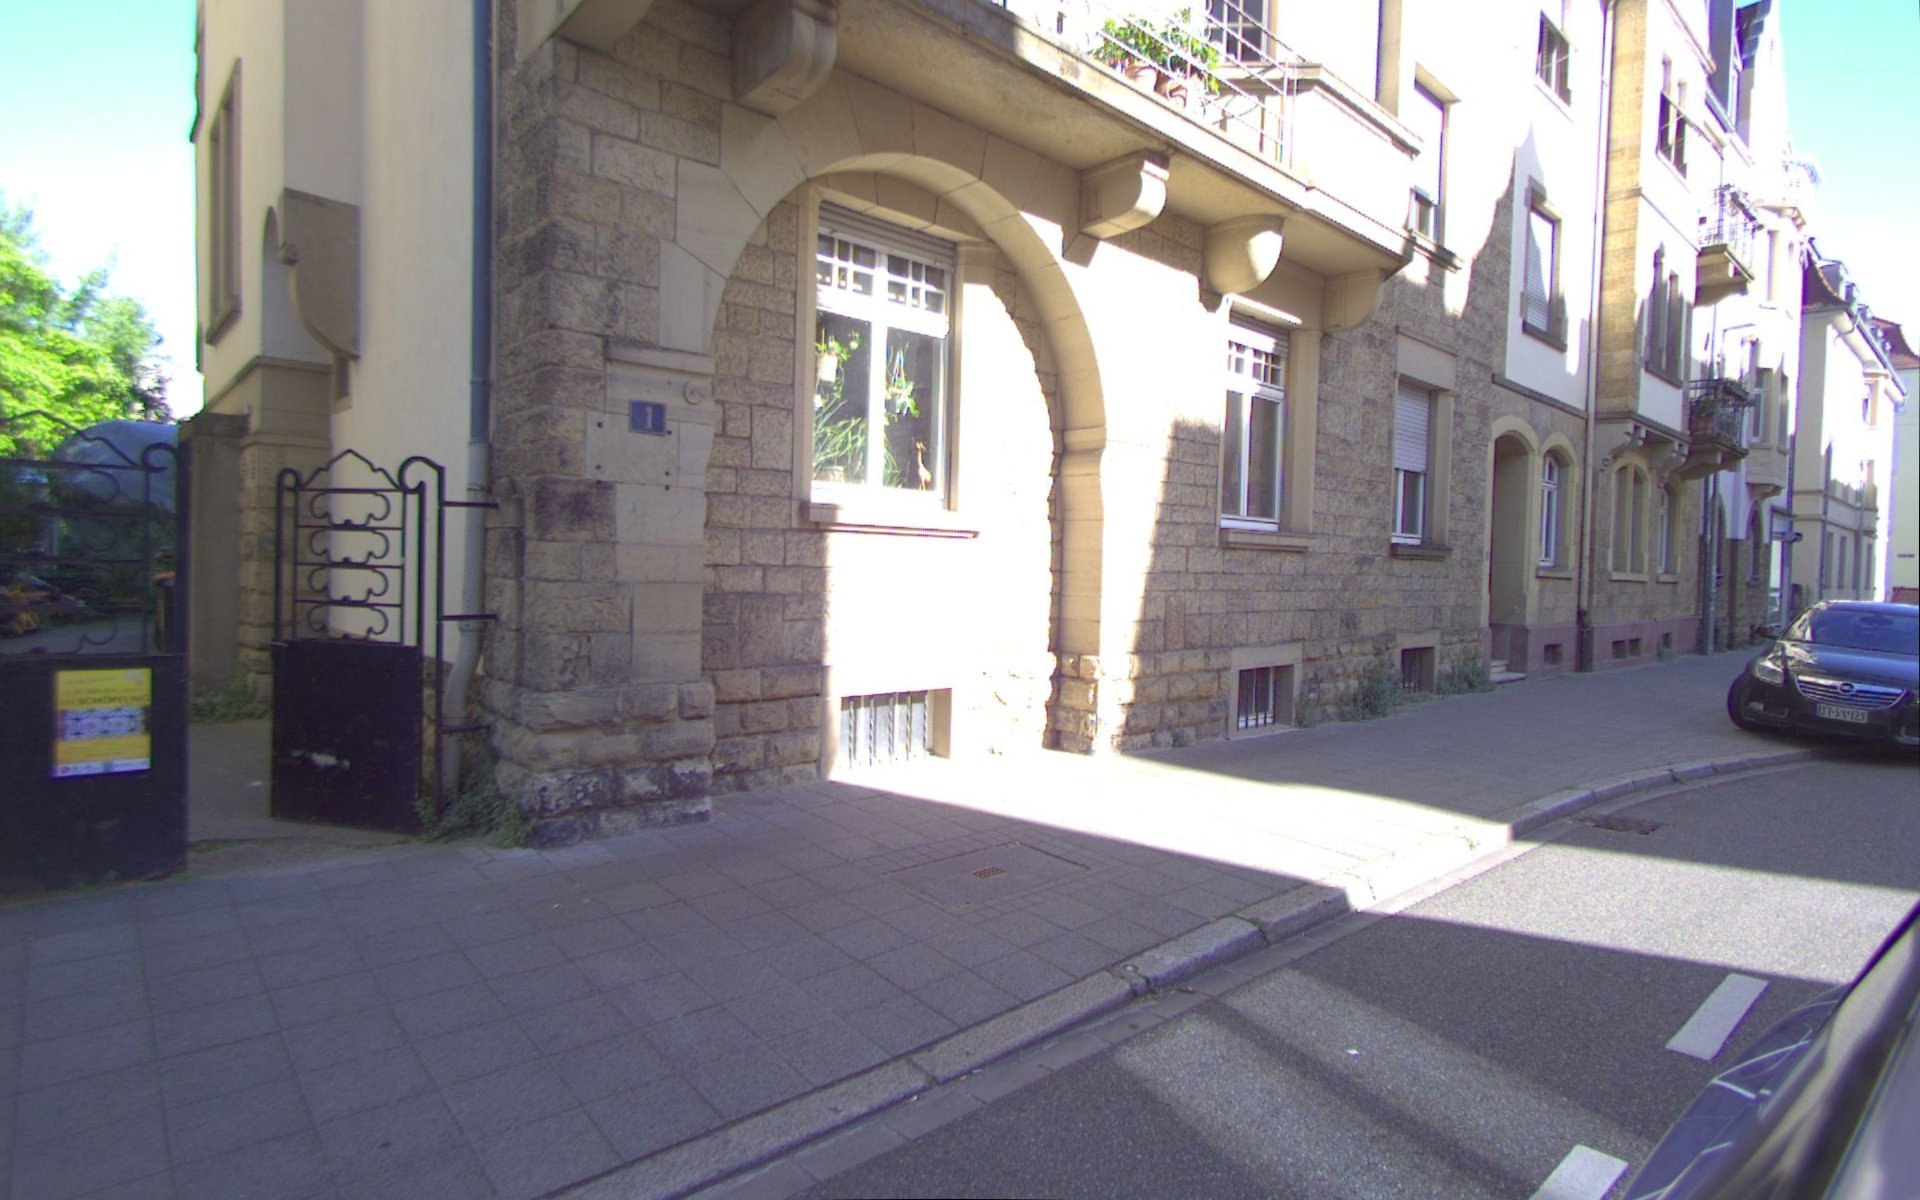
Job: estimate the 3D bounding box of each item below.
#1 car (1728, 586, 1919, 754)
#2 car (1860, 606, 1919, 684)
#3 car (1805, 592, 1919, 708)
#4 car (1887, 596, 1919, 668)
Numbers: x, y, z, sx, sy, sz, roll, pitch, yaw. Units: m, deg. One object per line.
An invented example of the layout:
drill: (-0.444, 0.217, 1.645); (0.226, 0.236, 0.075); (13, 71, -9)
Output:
car: (9.986, 0.638, 10.991); (4.266, 1.480, 1.868); (0, 3, -43)
car: (17.707, 0.791, 18.332); (3.874, 1.270, 1.695); (0, 2, -43)
car: (13.919, 0.664, 14.962); (4.187, 1.460, 1.654); (0, 3, -43)
car: (20.907, 0.665, 21.391); (1.787, 1.447, 3.746); (3, 2, 44)
